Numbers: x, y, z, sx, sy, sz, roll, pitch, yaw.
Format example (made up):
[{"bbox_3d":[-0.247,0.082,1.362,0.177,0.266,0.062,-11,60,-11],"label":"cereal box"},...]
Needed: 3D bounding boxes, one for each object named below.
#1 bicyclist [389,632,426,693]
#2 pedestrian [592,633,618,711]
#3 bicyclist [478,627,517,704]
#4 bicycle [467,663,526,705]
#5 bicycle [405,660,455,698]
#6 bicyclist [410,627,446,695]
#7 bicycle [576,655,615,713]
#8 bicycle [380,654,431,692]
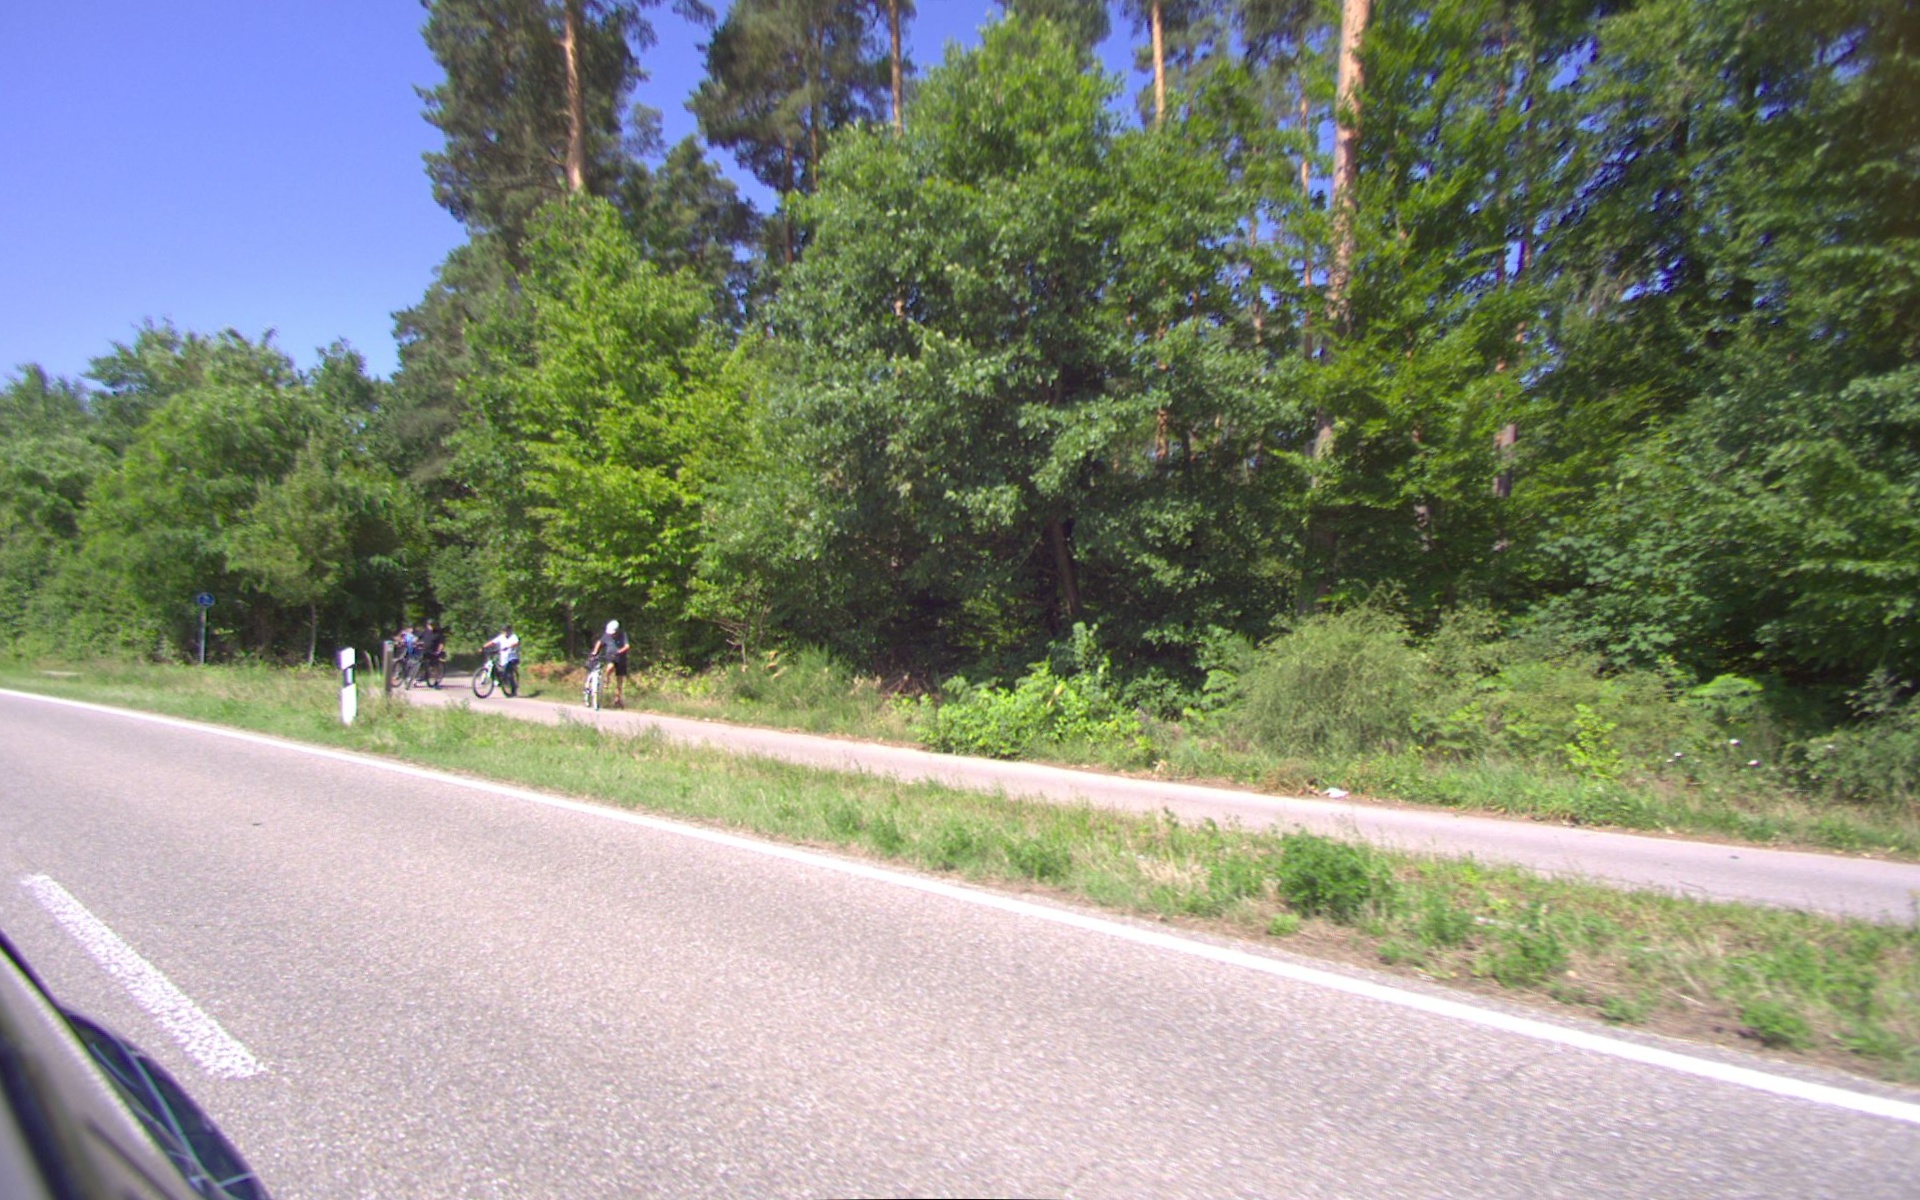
[{"bbox_3d":[-14.422,1.614,26.433,0.596,1.557,0.873,0,0,-11],"label":"bicyclist"},{"bbox_3d":[-7.136,1.438,20.330,0.389,1.550,0.282,-1,-3,31],"label":"pedestrian"},{"bbox_3d":[-10.813,1.519,23.676,0.597,1.732,0.790,0,0,-4],"label":"bicyclist"},{"bbox_3d":[-10.805,1.943,23.649,0.597,0.836,1.987,0,0,-4],"label":"bicycle"},{"bbox_3d":[-13.714,2.020,26.229,0.596,0.836,1.990,0,0,-11],"label":"bicycle"},{"bbox_3d":[-13.682,1.550,26.031,0.596,1.713,0.852,0,0,-11],"label":"bicyclist"},{"bbox_3d":[-7.351,1.663,20.388,0.572,1.094,1.452,-1,-2,-26],"label":"bicycle"},{"bbox_3d":[-14.407,1.886,26.338,0.596,0.836,1.990,0,0,-11],"label":"bicycle"}]
